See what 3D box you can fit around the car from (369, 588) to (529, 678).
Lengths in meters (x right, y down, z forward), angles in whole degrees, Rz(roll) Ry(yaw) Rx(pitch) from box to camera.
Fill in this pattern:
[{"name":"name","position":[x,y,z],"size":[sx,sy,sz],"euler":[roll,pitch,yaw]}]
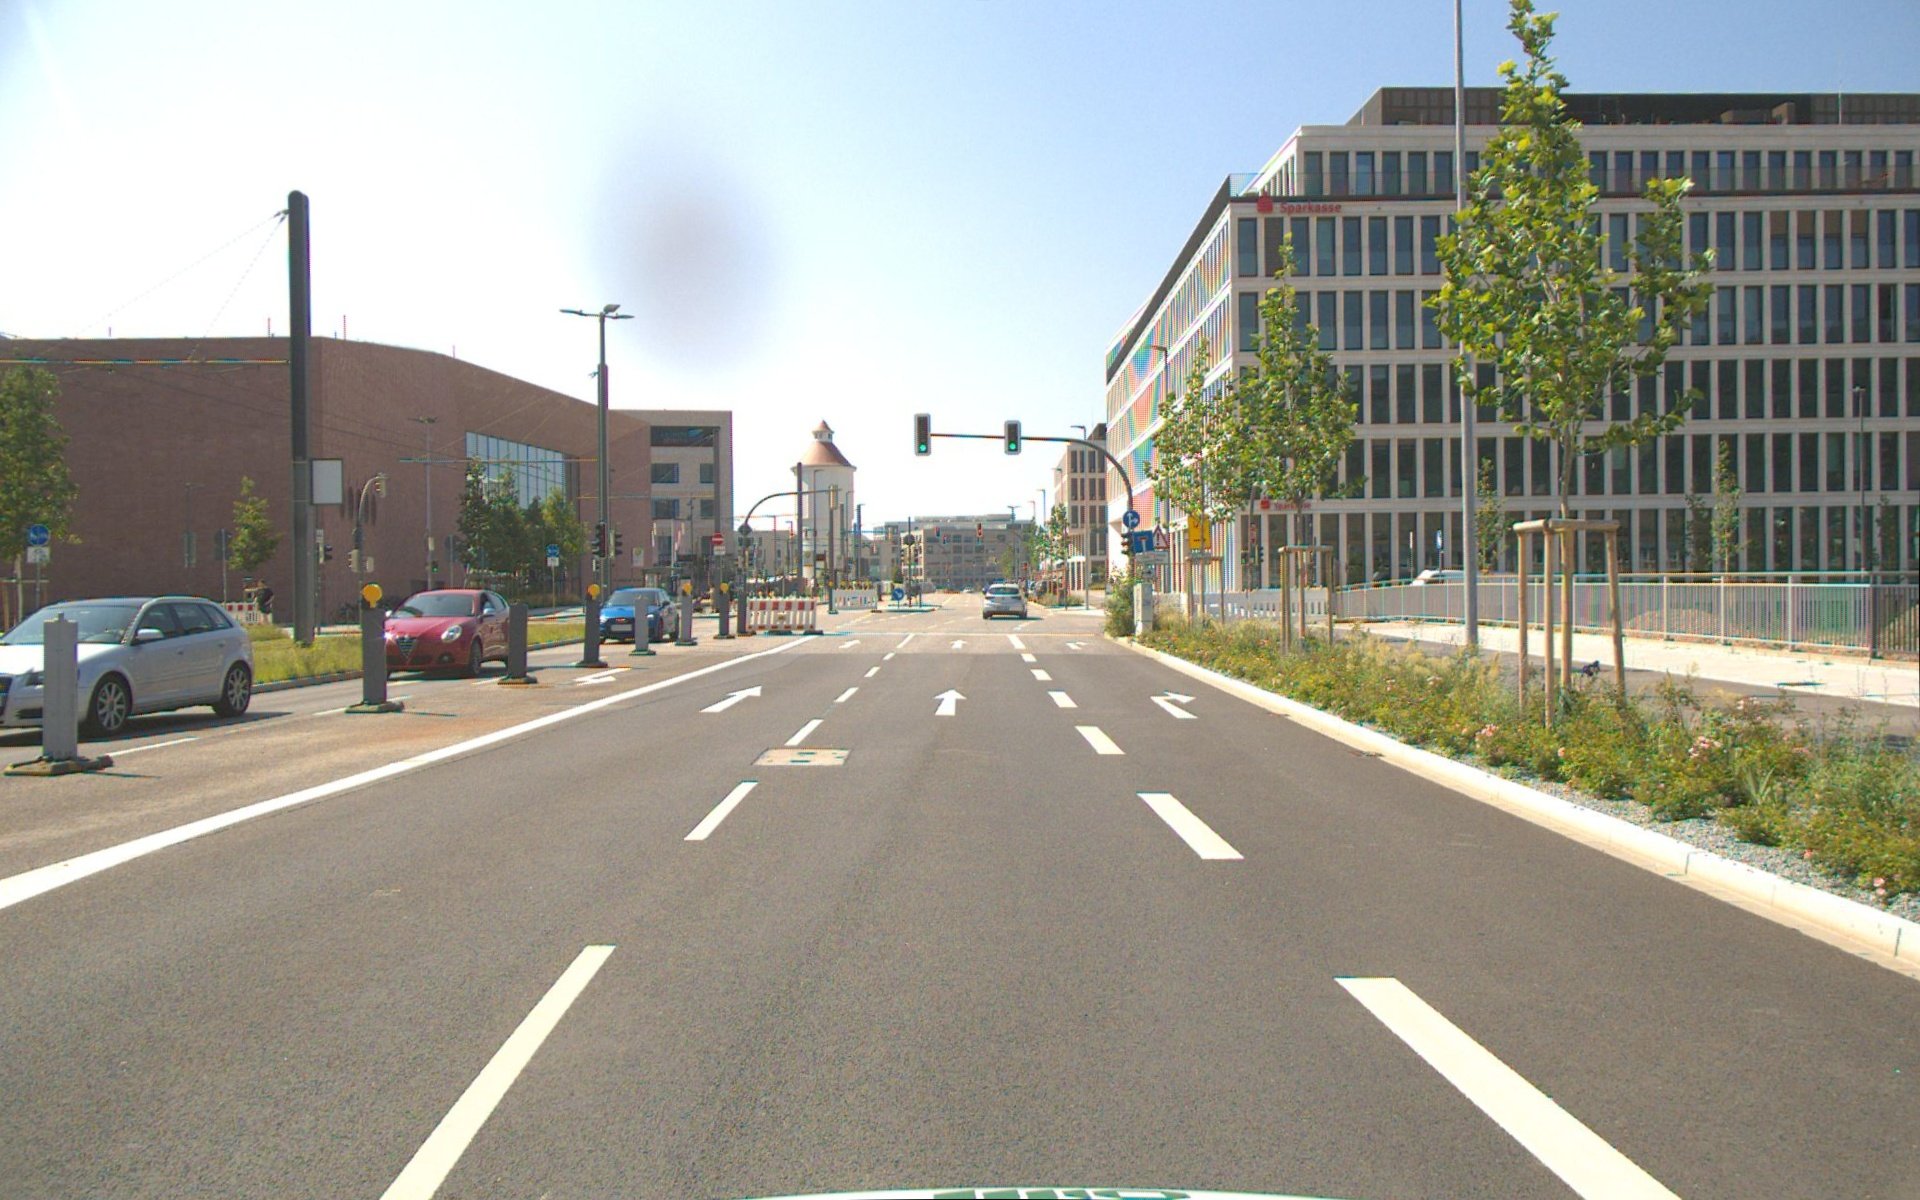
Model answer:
[{"name":"car","position":[-8.914,0.530,29.156],"size":[1.548,1.441,3.999],"euler":[-1,0,0]}]

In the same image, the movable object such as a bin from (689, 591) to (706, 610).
[{"name":"movable object such as a bin","position":[-14.415,0.011,90.881],"size":[0.704,1.050,0.787],"euler":[-1,1,-28]}]

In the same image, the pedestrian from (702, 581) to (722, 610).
[{"name":"pedestrian","position":[-13.687,-0.269,91.266],"size":[0.919,1.590,0.786],"euler":[-1,1,-28]}]

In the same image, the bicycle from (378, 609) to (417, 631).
[{"name":"bicycle","position":[-32.031,1.148,94.170],"size":[2.014,1.233,0.538],"euler":[0,1,-11]}]

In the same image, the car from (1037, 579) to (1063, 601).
[{"name":"car","position":[6.275,-0.663,114.790],"size":[1.700,1.500,3.983],"euler":[0,0,5]}]

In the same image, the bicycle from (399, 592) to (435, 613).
[{"name":"bicycle","position":[-33.001,0.160,100.560],"size":[2.014,1.233,0.538],"euler":[0,1,-11]}]

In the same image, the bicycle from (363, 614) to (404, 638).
[{"name":"bicycle","position":[-30.792,1.369,88.356],"size":[2.014,1.233,0.538],"euler":[0,1,-11]}]

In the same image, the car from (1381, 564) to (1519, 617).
[{"name":"car","position":[22.729,-0.455,76.873],"size":[5.717,2.310,2.147],"euler":[1,1,0]}]

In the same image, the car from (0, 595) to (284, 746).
[{"name":"car","position":[-9.245,0.690,18.177],"size":[1.547,1.441,4.299],"euler":[-1,0,5]}]

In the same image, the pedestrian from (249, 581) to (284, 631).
[{"name":"pedestrian","position":[-26.360,0.204,62.898],"size":[0.794,1.879,1.108],"euler":[0,0,3]}]

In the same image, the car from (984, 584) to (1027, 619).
[{"name":"car","position":[1.962,0.073,70.508],"size":[1.735,1.419,3.532],"euler":[1,-1,2]}]

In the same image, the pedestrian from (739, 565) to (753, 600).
[{"name":"pedestrian","position":[-11.541,-0.935,89.102],"size":[0.639,1.865,0.661],"euler":[0,1,5]}]

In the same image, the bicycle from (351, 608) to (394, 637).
[{"name":"bicycle","position":[-30.653,1.183,86.342],"size":[2.014,1.478,0.538],"euler":[0,1,-11]}]

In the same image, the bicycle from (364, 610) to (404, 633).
[{"name":"bicycle","position":[-32.103,1.185,92.227],"size":[2.014,1.233,0.538],"euler":[0,1,-11]}]

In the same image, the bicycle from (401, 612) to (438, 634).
[{"name":"bicycle","position":[-31.866,1.366,97.543],"size":[2.014,1.233,0.538],"euler":[0,1,-11]}]

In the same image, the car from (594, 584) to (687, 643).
[{"name":"car","position":[-8.500,0.313,44.354],"size":[1.595,1.452,4.290],"euler":[-2,1,0]}]

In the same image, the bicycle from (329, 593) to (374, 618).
[{"name":"bicycle","position":[-30.104,0.271,81.789],"size":[2.014,1.233,0.538],"euler":[0,0,-11]}]
